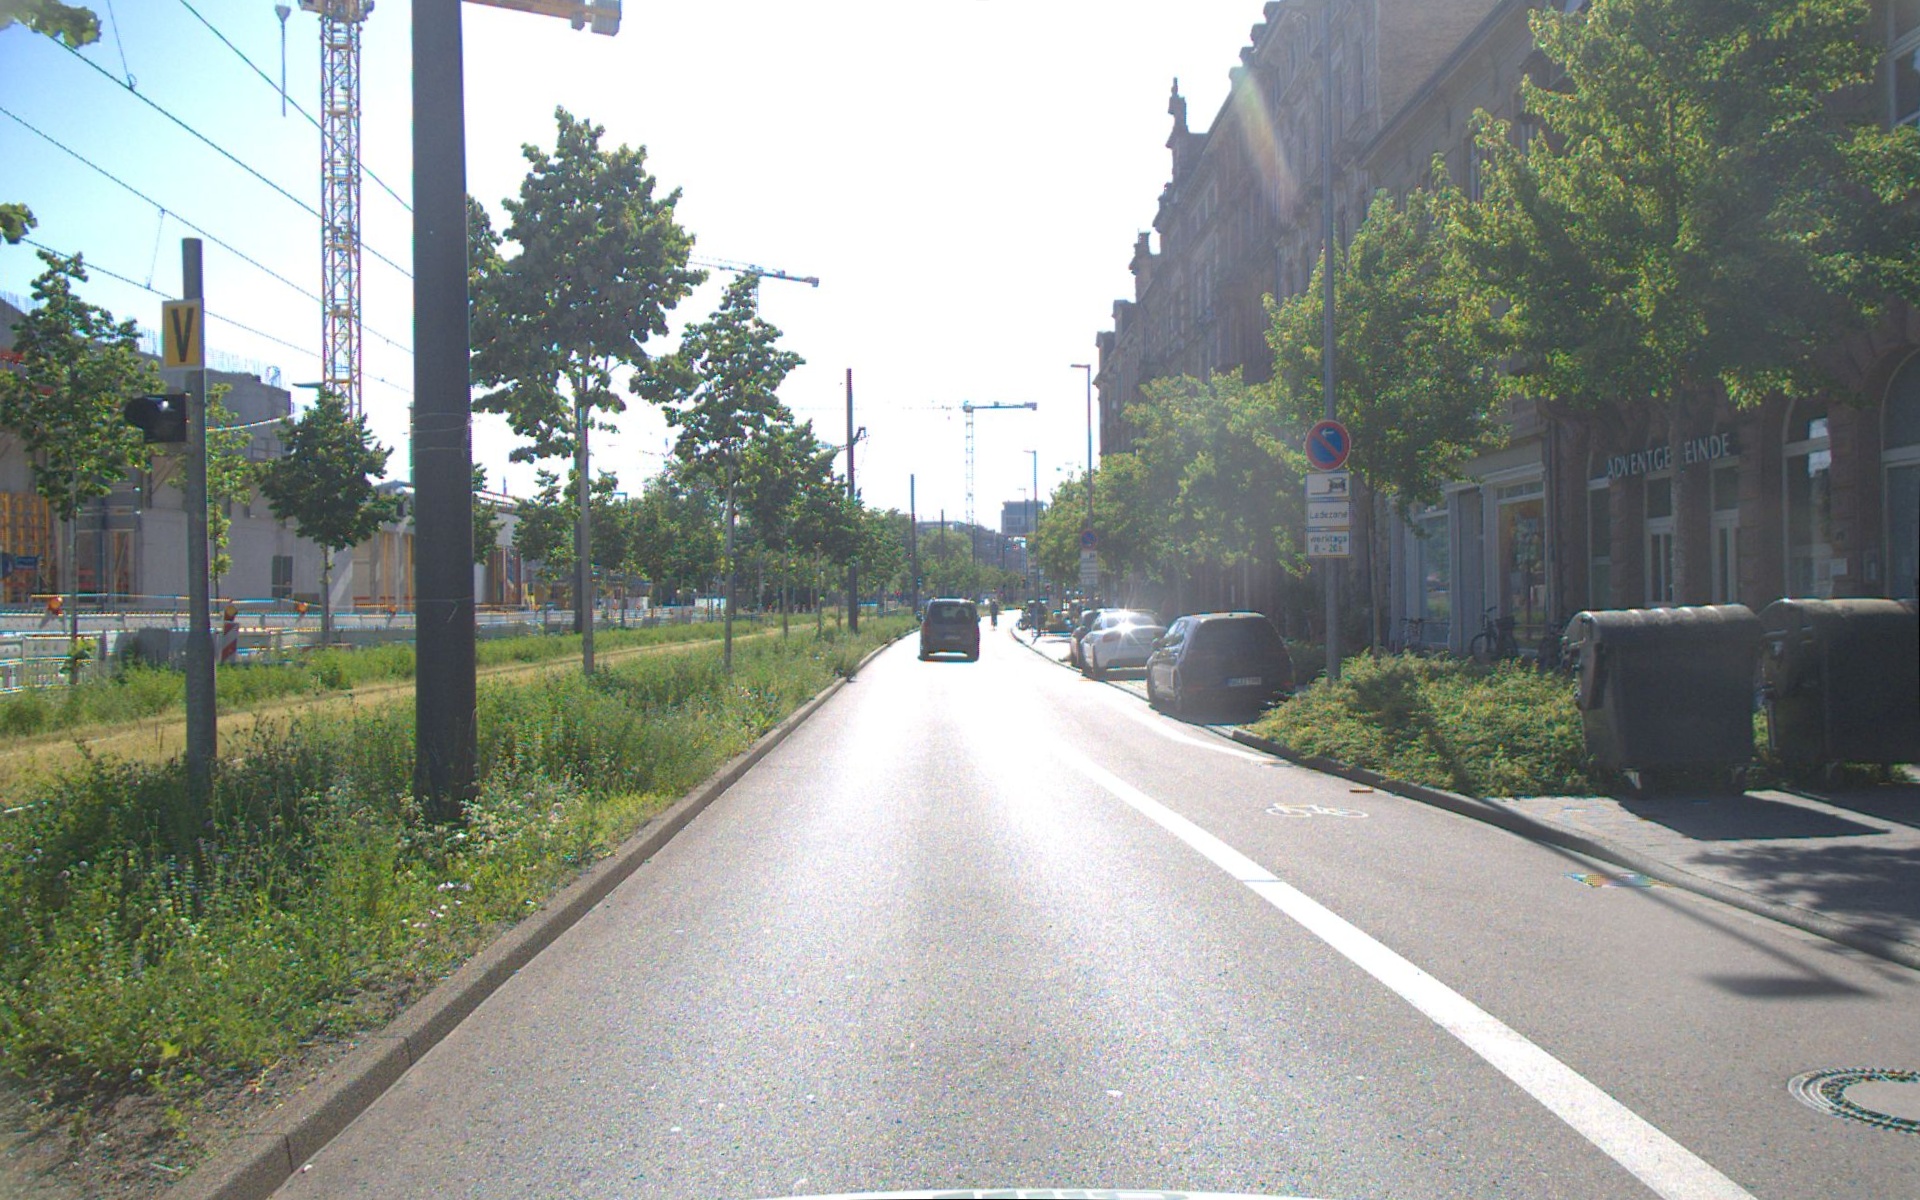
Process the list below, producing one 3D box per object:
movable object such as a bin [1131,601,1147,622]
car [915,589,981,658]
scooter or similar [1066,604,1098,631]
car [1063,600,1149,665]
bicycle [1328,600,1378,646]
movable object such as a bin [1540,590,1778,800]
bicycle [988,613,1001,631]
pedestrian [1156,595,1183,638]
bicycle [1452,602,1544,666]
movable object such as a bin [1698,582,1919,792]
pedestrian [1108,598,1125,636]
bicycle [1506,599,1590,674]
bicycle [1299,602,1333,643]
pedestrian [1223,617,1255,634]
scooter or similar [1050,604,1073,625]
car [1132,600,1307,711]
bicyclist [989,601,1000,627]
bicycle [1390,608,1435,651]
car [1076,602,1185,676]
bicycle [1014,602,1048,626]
[{"bbox_3d":[9.503,0.609,87.855,0.711,1.117,0.747,0,0,-5],"label":"movable object such as a bin"},{"bbox_3d":[-0.390,0.737,51.464,1.953,2.049,3.999,0,-1,-1],"label":"car"},{"bbox_3d":[6.091,0.872,82.439,1.444,1.237,0.601,-3,1,-5],"label":"scooter or similar"},{"bbox_3d":[3.942,0.885,45.365,1.846,1.597,4.219,-3,-1,-1],"label":"car"},{"bbox_3d":[10.085,0.578,42.512,0.706,1.109,2.198,-2,0,-1],"label":"bicycle"},{"bbox_3d":[5.461,0.697,13.074,1.244,1.488,1.645,1,2,4],"label":"movable object such as a bin"},{"bbox_3d":[2.118,1.334,101.233,0.687,1.110,2.277,0,0,-1],"label":"bicycle"},{"bbox_3d":[8.595,0.682,68.002,0.976,1.762,0.866,0,-1,-1],"label":"pedestrian"},{"bbox_3d":[10.174,0.626,31.379,0.858,1.124,2.180,-4,0,-4],"label":"bicycle"},{"bbox_3d":[7.022,0.652,13.279,1.345,1.521,1.749,-3,-1,0],"label":"movable object such as a bin"},{"bbox_3d":[8.576,0.940,90.728,0.801,2.049,1.046,0,-3,-1],"label":"pedestrian"},{"bbox_3d":[10.044,0.622,28.311,0.733,1.222,1.800,-2,-1,-1],"label":"bicycle"},{"bbox_3d":[10.083,0.627,46.857,0.471,1.109,2.056,-2,0,-1],"label":"bicycle"},{"bbox_3d":[9.997,0.906,59.334,0.757,0.563,2.007,-1,0,-1],"label":"pedestrian"},{"bbox_3d":[5.717,0.791,93.174,1.194,1.125,0.783,-2,0,2],"label":"scooter or similar"},{"bbox_3d":[3.951,0.828,25.922,1.731,1.502,4.445,-3,-1,-3],"label":"car"},{"bbox_3d":[2.113,0.844,101.290,0.669,1.612,0.839,0,0,-1],"label":"bicyclist"},{"bbox_3d":[10.379,0.669,37.984,0.438,0.961,2.012,0,0,-1],"label":"bicycle"},{"bbox_3d":[3.895,0.854,38.629,1.912,1.521,5.104,-2,0,-1],"label":"car"},{"bbox_3d":[4.123,0.808,96.002,1.843,1.255,0.499,-3,-1,-7],"label":"bicycle"}]
